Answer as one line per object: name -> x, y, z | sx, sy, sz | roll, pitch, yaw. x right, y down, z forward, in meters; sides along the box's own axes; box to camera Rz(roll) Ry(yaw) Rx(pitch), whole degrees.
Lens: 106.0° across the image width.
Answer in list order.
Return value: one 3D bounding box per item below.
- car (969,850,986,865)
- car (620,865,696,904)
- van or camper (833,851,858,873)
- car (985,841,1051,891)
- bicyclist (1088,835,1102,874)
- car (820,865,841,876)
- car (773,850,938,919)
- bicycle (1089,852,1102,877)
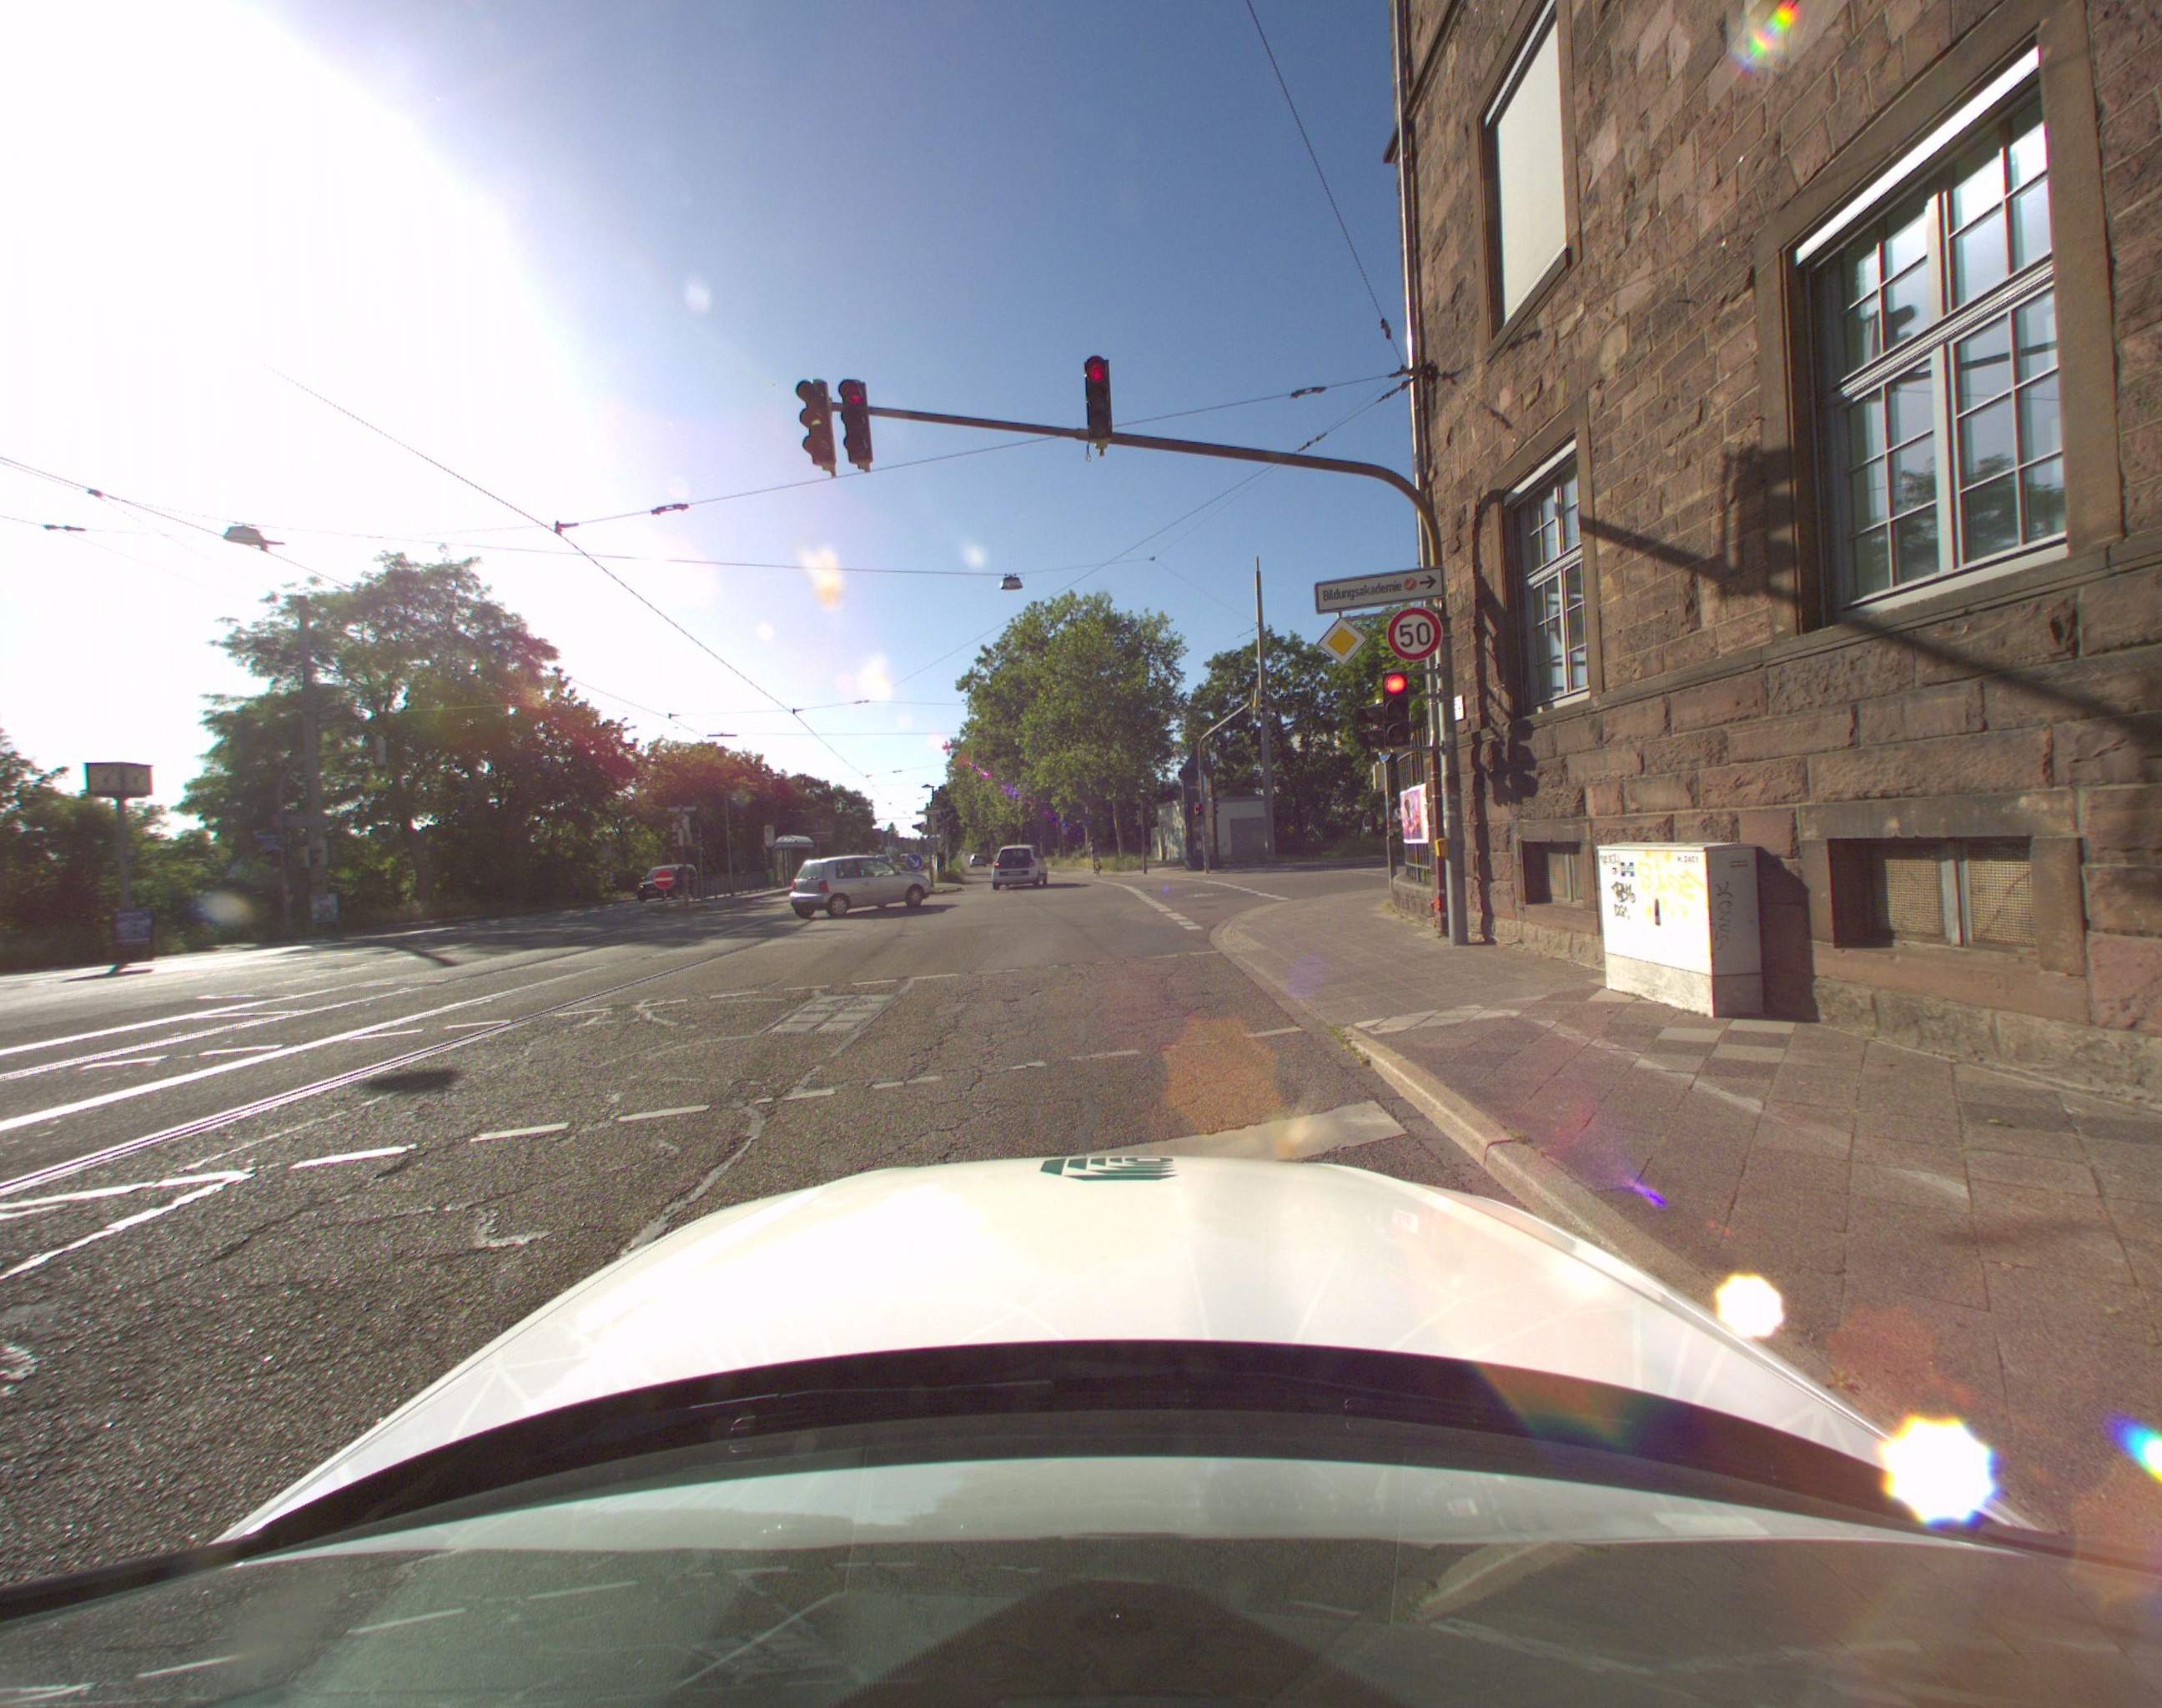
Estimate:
car -> -11.864, 0.349, 93.468 | 1.750, 1.604, 3.569 | -4, 1, -9
car -> -22.138, 1.555, 42.858 | 1.994, 1.767, 5.014 | -4, 0, -9
van or camper -> -35.844, 1.250, 124.221 | 2.589, 3.106, 6.768 | -4, 0, -9
car -> -2.236, 0.385, 29.895 | 1.742, 1.604, 3.755 | -4, 1, 4
bicyclist -> 0.658, 0.037, 38.052 | 0.532, 1.769, 0.713 | -4, 0, 1
car -> -34.401, 2.242, 111.811 | 1.919, 1.266, 3.991 | -4, 0, -7
car -> -5.684, 0.734, 20.785 | 1.849, 1.486, 3.578 | -3, 0, 41
bicycle -> 0.684, 0.485, 37.958 | 0.534, 1.066, 1.434 | -4, 0, 1
